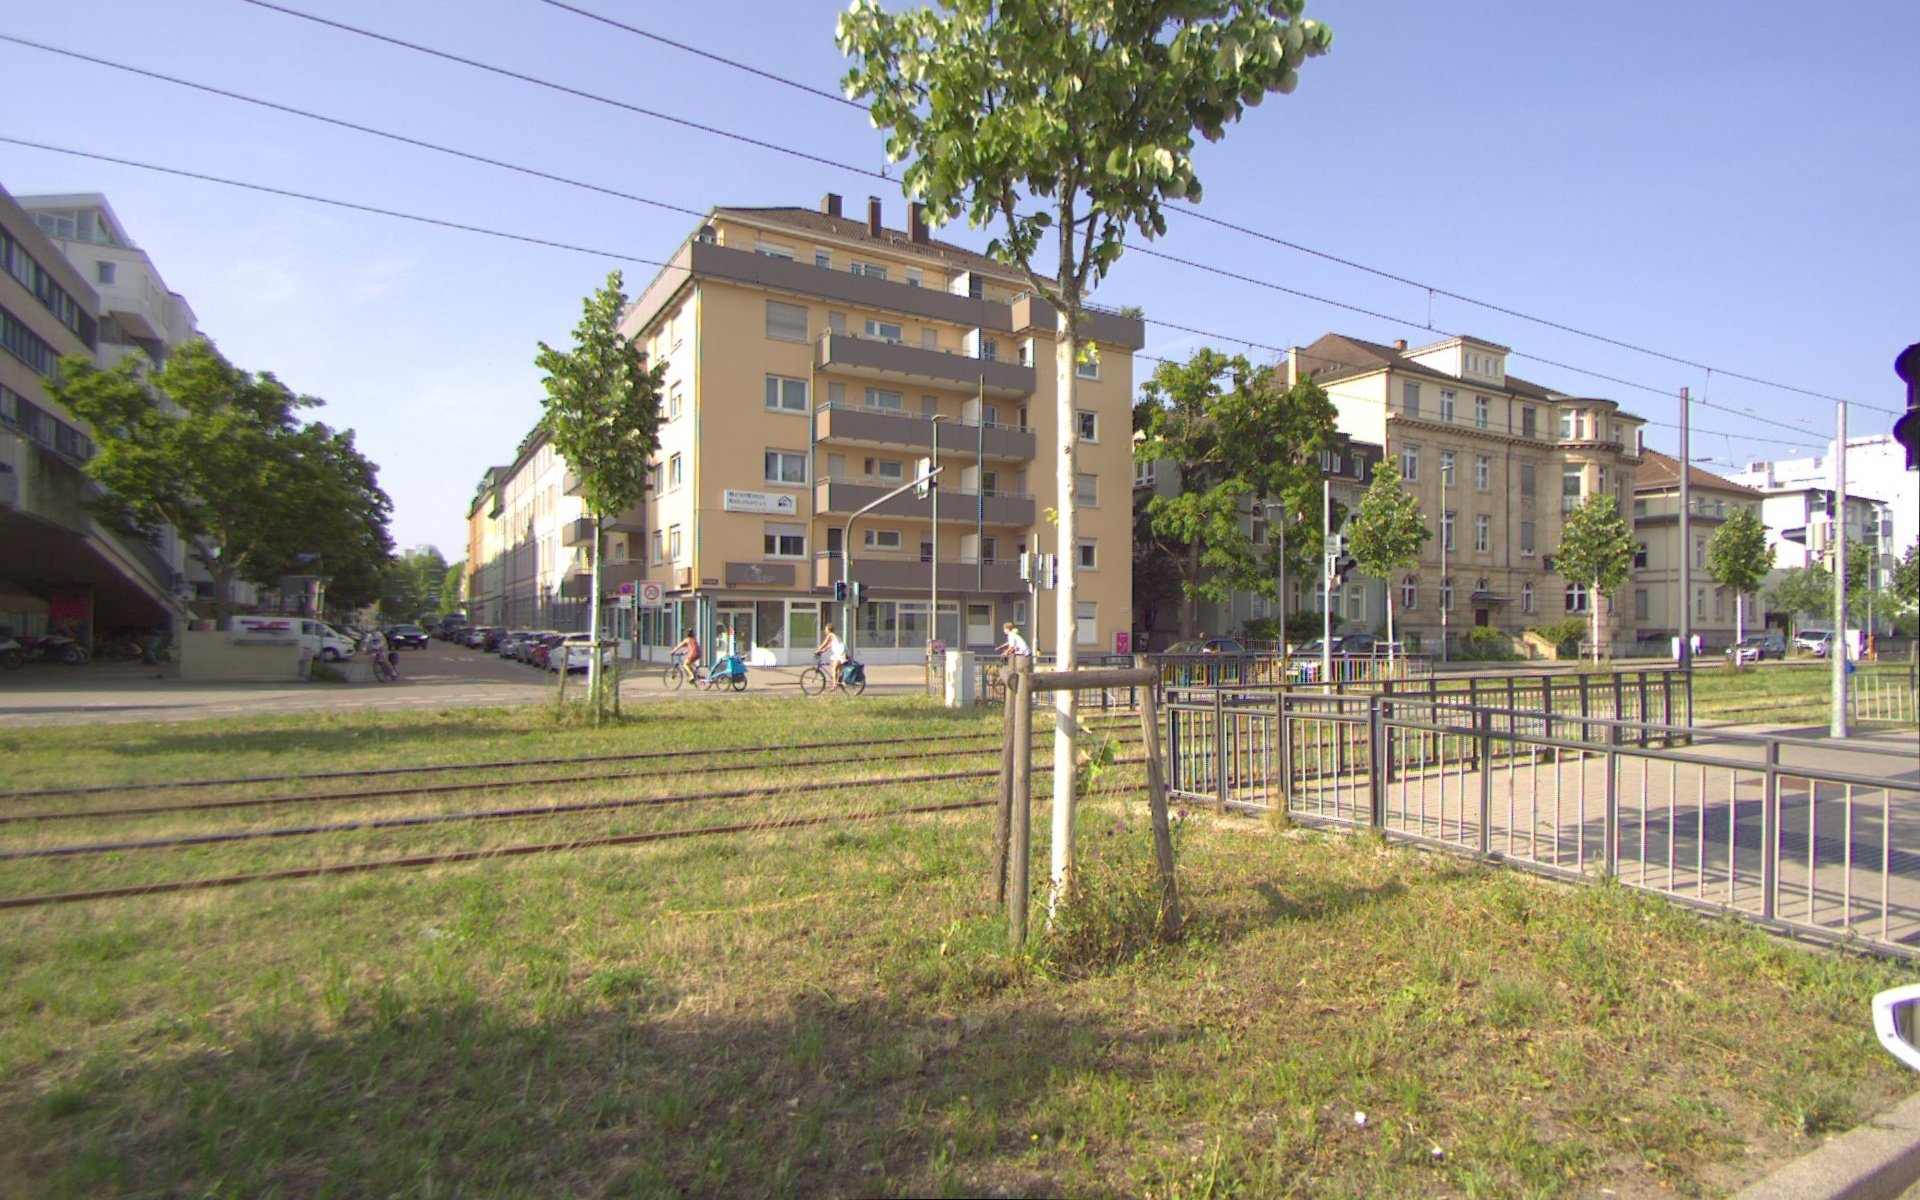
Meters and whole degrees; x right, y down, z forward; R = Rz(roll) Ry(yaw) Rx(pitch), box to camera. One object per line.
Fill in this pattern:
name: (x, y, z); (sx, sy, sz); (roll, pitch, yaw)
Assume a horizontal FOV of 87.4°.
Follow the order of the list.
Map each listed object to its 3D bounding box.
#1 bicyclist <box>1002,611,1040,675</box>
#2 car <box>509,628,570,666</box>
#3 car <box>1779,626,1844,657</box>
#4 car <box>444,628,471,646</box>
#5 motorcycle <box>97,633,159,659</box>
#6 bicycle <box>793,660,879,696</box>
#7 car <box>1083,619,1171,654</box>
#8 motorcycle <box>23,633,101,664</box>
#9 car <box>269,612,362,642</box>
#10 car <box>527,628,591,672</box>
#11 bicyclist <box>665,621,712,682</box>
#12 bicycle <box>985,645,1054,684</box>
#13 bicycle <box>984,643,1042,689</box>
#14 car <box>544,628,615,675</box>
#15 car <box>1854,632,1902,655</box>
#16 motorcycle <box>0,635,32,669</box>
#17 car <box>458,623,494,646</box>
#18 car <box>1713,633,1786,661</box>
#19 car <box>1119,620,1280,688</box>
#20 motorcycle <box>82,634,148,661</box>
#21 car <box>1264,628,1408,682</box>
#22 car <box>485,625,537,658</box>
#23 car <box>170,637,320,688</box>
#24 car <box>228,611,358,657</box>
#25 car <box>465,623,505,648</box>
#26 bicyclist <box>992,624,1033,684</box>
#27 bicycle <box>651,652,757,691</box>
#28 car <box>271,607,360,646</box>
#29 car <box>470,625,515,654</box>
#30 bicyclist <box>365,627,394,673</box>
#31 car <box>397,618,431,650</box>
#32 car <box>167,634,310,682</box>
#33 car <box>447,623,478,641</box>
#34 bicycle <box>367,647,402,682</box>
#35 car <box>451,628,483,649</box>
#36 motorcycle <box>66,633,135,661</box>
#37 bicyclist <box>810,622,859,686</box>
bicyclist: (1.439, 1.016, 23.905); (0.790, 1.459, 0.687); (2, 0, -2)
car: (-19.146, 2.111, 45.615); (1.797, 1.625, 3.915); (1, -2, -34)
car: (63.601, 3.095, 75.027); (5.207, 2.040, 2.237); (3, 0, -33)
car: (-48.269, 3.522, 96.540); (1.797, 1.625, 3.915); (1, -2, -34)
motorcycle: (-34.685, 1.911, 41.902); (1.923, 1.031, 0.553); (1, -1, -30)
bicycle: (-2.979, 1.854, 24.077); (1.963, 0.804, 0.629); (0, -1, 20)
car: (8.743, 1.918, 53.061); (2.141, 1.771, 4.605); (1, -2, -31)
motorcycle: (-31.294, 1.681, 35.030); (1.923, 1.031, 0.490); (1, -1, -30)
car: (-39.944, 1.692, 62.411); (4.714, 1.843, 1.984); (2, -2, -30)
car: (-16.566, 2.014, 41.392); (1.755, 1.711, 3.765); (1, -2, -33)
bicyclist: (-7.580, 1.432, 28.065); (0.876, 1.650, 0.892); (0, -1, 23)
bicycle: (1.405, 1.531, 23.908); (1.572, 0.808, 0.720); (2, 0, -2)
bicycle: (1.660, 2.038, 31.314); (1.740, 1.364, 0.690); (2, -2, -36)
car: (-14.217, 1.870, 37.432); (1.691, 1.604, 3.602); (-2, 0, -33)
car: (63.319, 2.953, 69.249); (3.782, 1.483, 1.510); (0, -1, -33)
motorcycle: (-30.164, 1.617, 31.176); (1.923, 1.031, 0.490); (1, -1, -30)
car: (-35.298, 2.500, 73.244); (1.797, 1.625, 3.915); (1, -2, -34)
car: (46.877, 2.779, 59.629); (4.478, 1.597, 1.983); (1, -2, -32)
car: (7.750, 1.699, 32.287); (5.245, 2.040, 1.982); (2, -2, -33)
motorcycle: (-33.845, 1.905, 40.275); (1.923, 1.031, 0.553); (1, -1, -30)
car: (11.625, 1.662, 30.968); (4.350, 1.533, 1.982); (2, -2, -33)
car: (-23.430, 2.129, 52.305); (1.797, 1.625, 3.915); (1, -2, -34)
car: (-25.996, 2.249, 36.740); (4.335, 1.650, 1.897); (2, 0, -34)
car: (-30.285, 1.580, 45.821); (4.777, 1.994, 1.984); (2, -2, -31)
car: (-32.035, 2.361, 67.697); (1.797, 1.625, 3.915); (1, -2, -34)
bicyclist: (1.642, 1.660, 31.311); (1.073, 1.829, 0.664); (1, -1, -36)
bicycle: (-7.115, 1.969, 27.851); (2.941, 0.978, 0.900); (0, -2, 25)
car: (-35.200, 1.479, 54.978); (3.953, 2.040, 1.984); (1, -2, -30)
car: (-27.388, 2.304, 58.802); (1.797, 1.625, 3.915); (1, -2, -34)
bicyclist: (-18.187, 1.559, 31.496); (0.694, 1.404, 0.908); (0, 0, -25)
car: (-36.068, 2.201, 66.273); (1.791, 2.040, 3.967); (1, -2, -31)
car: (-27.573, 2.188, 38.582); (4.335, 1.650, 1.897); (2, 0, -34)
car: (-45.921, 2.947, 92.698); (1.980, 1.658, 3.962); (1, -2, -34)
bicycle: (-18.186, 2.027, 31.798); (0.698, 1.012, 2.333); (1, -2, -24)
car: (-40.004, 3.115, 81.440); (1.797, 1.625, 3.915); (1, -2, -34)
motorcycle: (-32.922, 1.802, 38.513); (1.923, 1.031, 0.490); (1, -1, -30)
bicyclist: (-3.004, 1.285, 24.093); (0.967, 1.520, 0.620); (0, -1, 20)
